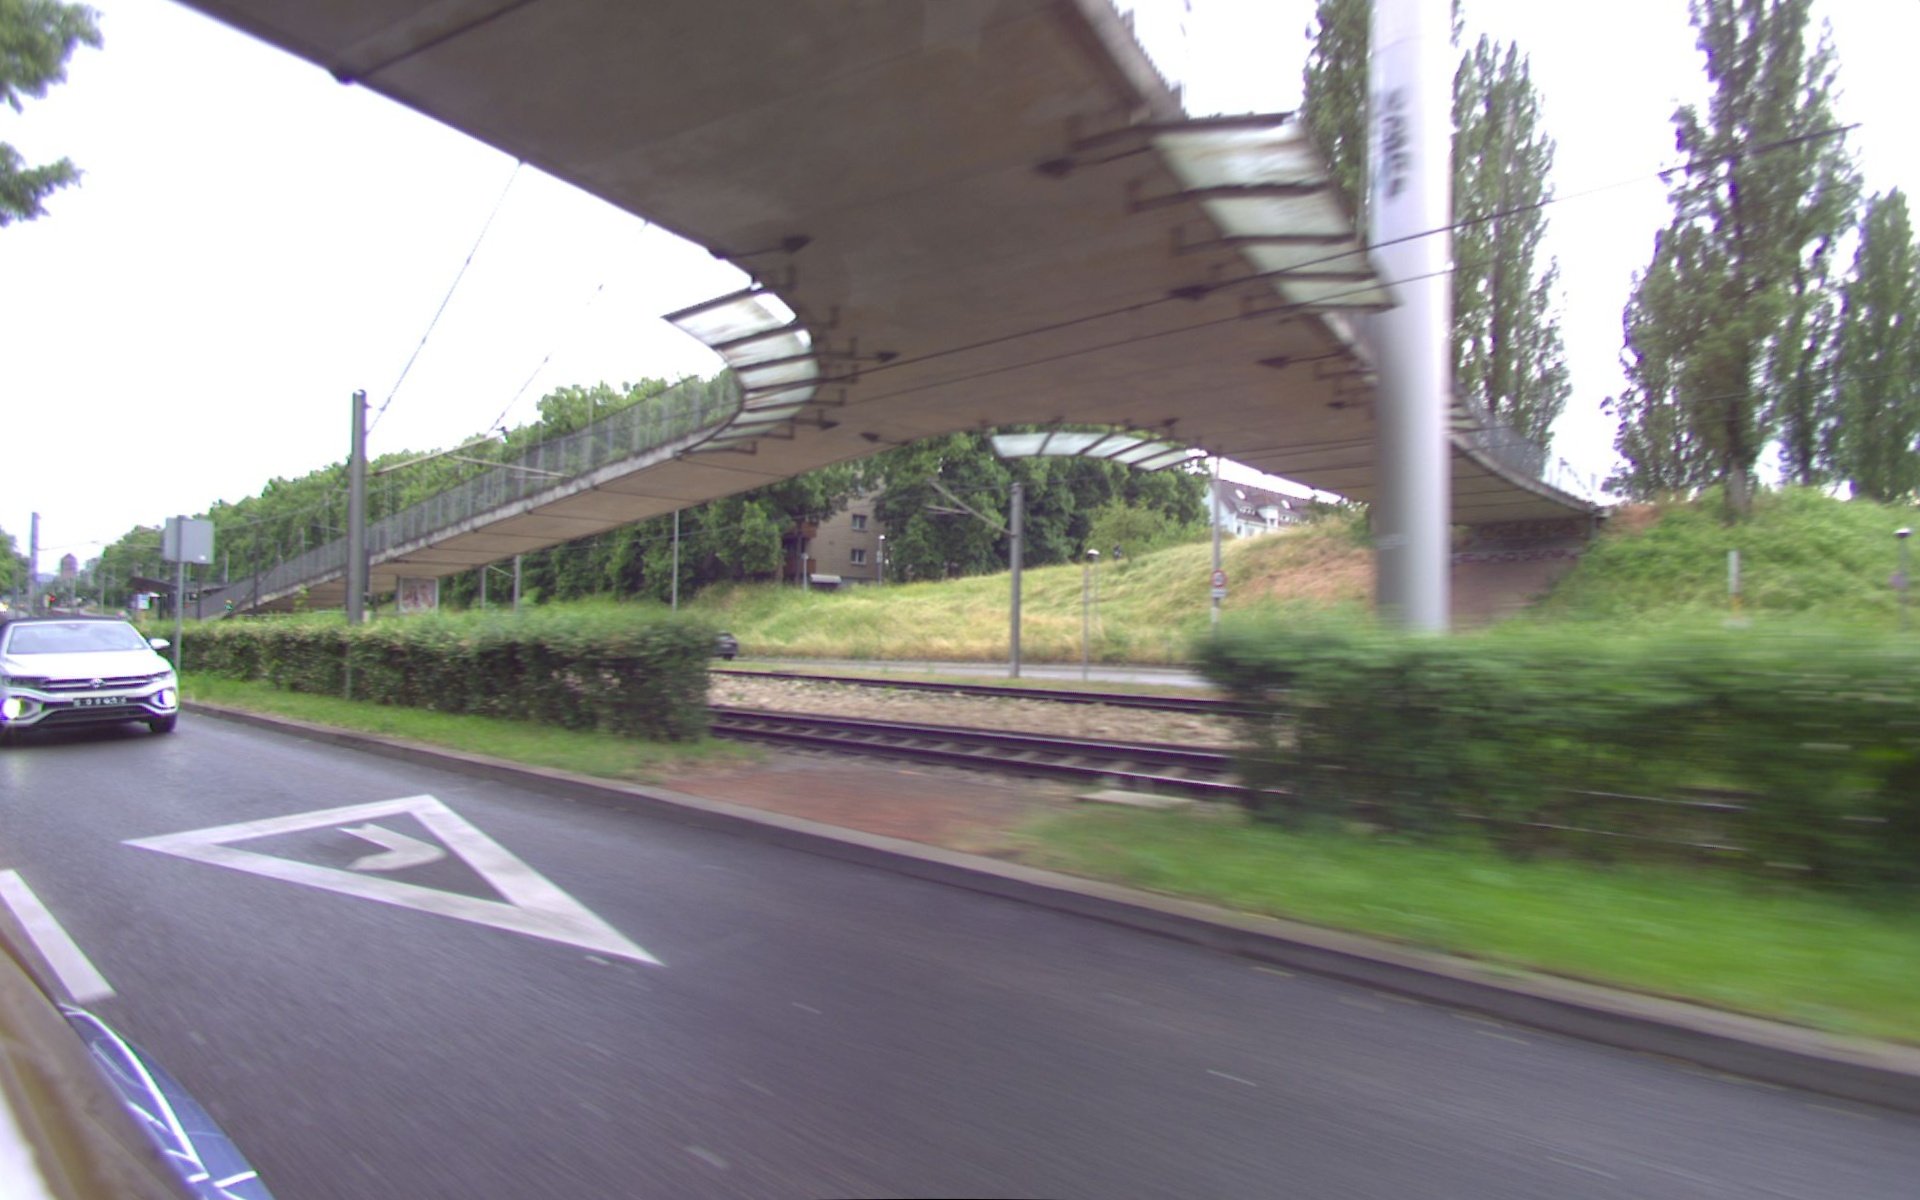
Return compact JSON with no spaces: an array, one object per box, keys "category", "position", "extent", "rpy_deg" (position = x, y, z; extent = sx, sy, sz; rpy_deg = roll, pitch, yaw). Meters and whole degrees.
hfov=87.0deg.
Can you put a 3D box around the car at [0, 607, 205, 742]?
[{"category":"car","position":[-11.963,0.866,13.573],"extent":[4.696,1.476,1.935],"rpy_deg":[-1,0,40]}]
